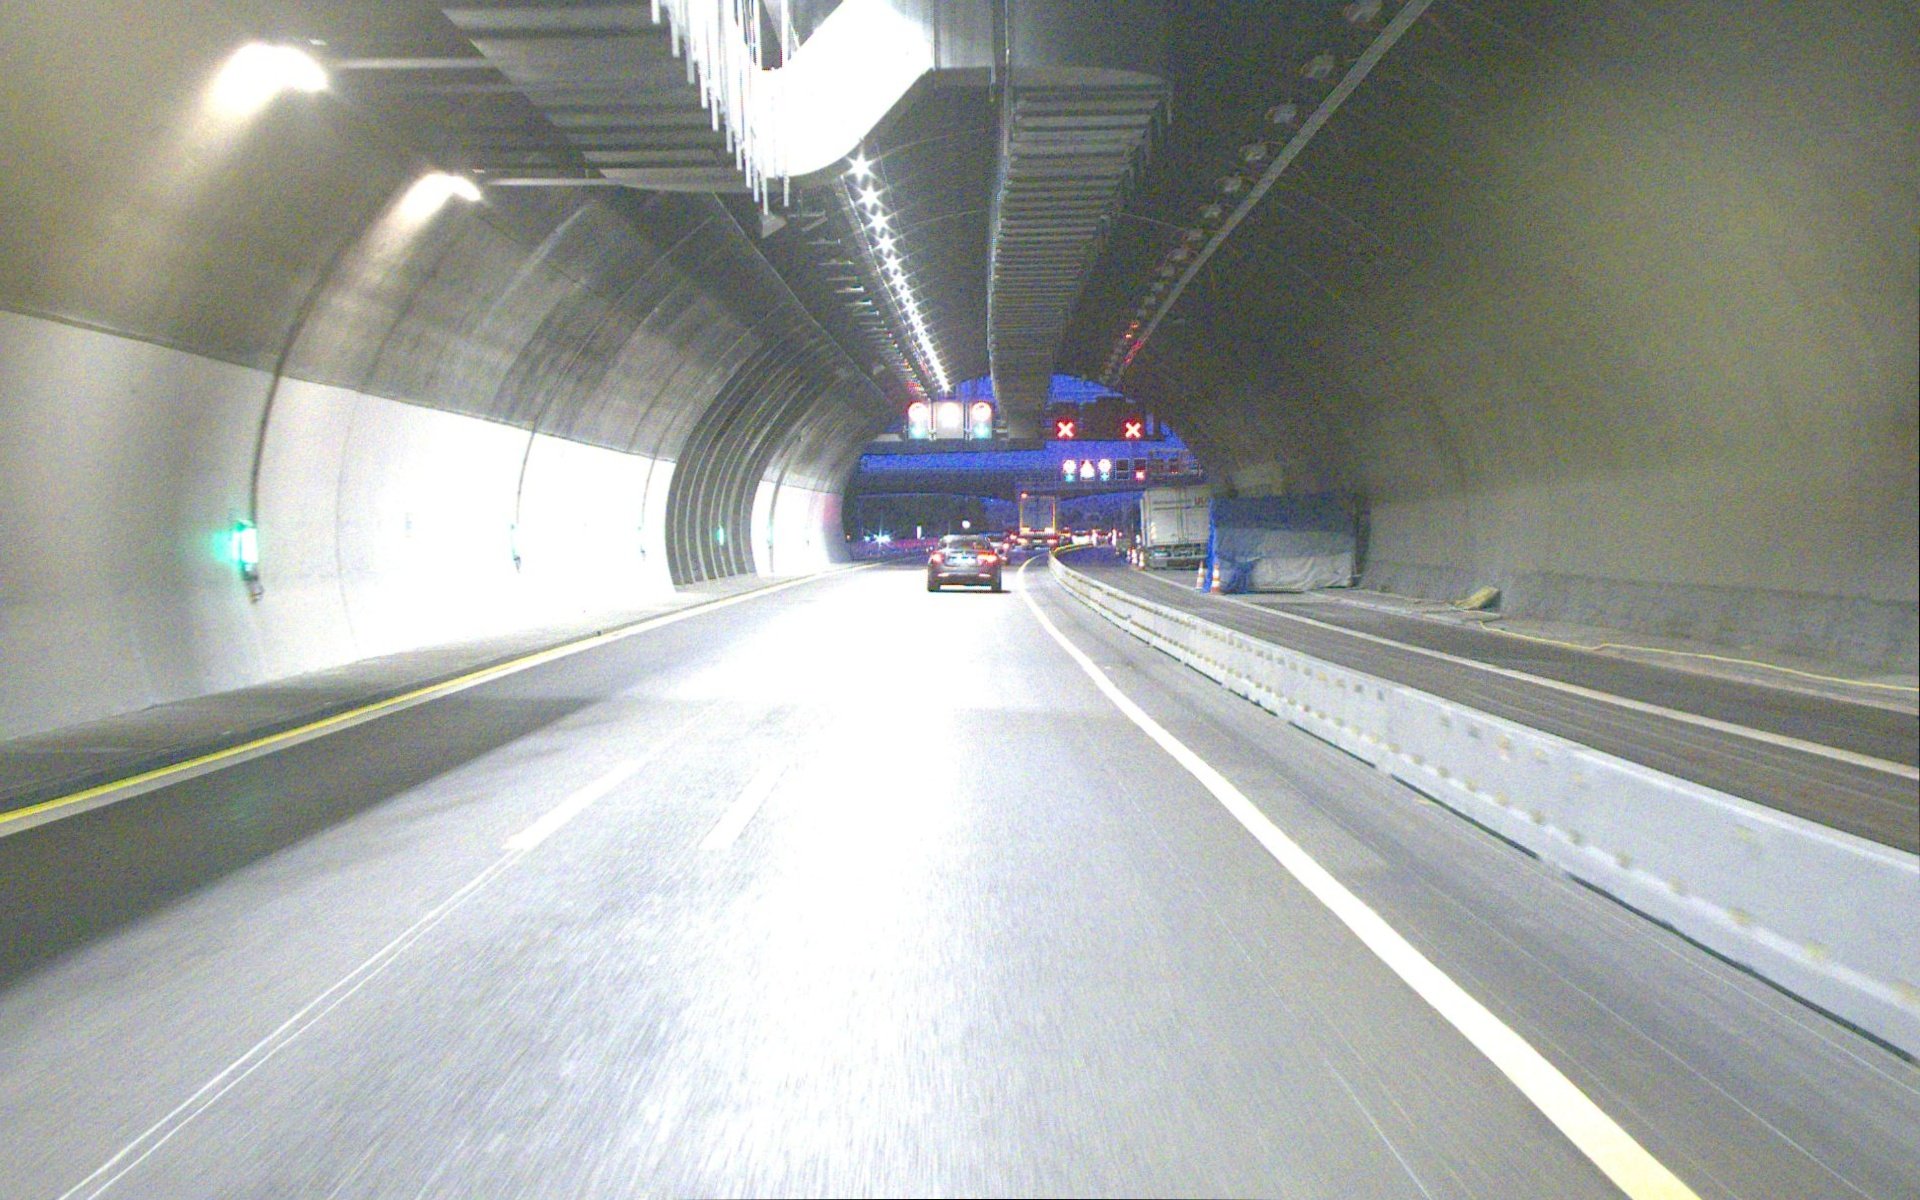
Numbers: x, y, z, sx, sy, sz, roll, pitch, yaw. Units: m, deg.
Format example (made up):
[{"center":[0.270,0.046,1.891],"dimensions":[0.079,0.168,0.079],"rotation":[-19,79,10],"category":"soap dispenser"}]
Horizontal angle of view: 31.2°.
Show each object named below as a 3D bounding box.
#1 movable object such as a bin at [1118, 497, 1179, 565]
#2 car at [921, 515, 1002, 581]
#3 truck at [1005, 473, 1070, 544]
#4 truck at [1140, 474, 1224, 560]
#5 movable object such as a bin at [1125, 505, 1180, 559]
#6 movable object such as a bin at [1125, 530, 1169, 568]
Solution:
[{"center":[7.960,-2.917,145.935],"dimensions":[2.238,2.784,7.233],"rotation":[1,1,1],"category":"movable object such as a bin"},{"center":[0.023,-1.310,87.362],"dimensions":[1.887,1.601,4.000],"rotation":[1,1,-2],"category":"car"},{"center":[5.604,-6.602,250.247],"dimensions":[4.546,4.970,9.599],"rotation":[1,1,1],"category":"truck"},{"center":[8.803,-3.275,137.082],"dimensions":[2.892,3.261,8.401],"rotation":[1,1,1],"category":"truck"},{"center":[10.192,-3.605,182.717],"dimensions":[2.737,2.744,7.049],"rotation":[1,1,2],"category":"movable object such as a bin"},{"center":[9.263,-2.527,170.252],"dimensions":[1.978,1.809,3.836],"rotation":[1,1,1],"category":"movable object such as a bin"}]
